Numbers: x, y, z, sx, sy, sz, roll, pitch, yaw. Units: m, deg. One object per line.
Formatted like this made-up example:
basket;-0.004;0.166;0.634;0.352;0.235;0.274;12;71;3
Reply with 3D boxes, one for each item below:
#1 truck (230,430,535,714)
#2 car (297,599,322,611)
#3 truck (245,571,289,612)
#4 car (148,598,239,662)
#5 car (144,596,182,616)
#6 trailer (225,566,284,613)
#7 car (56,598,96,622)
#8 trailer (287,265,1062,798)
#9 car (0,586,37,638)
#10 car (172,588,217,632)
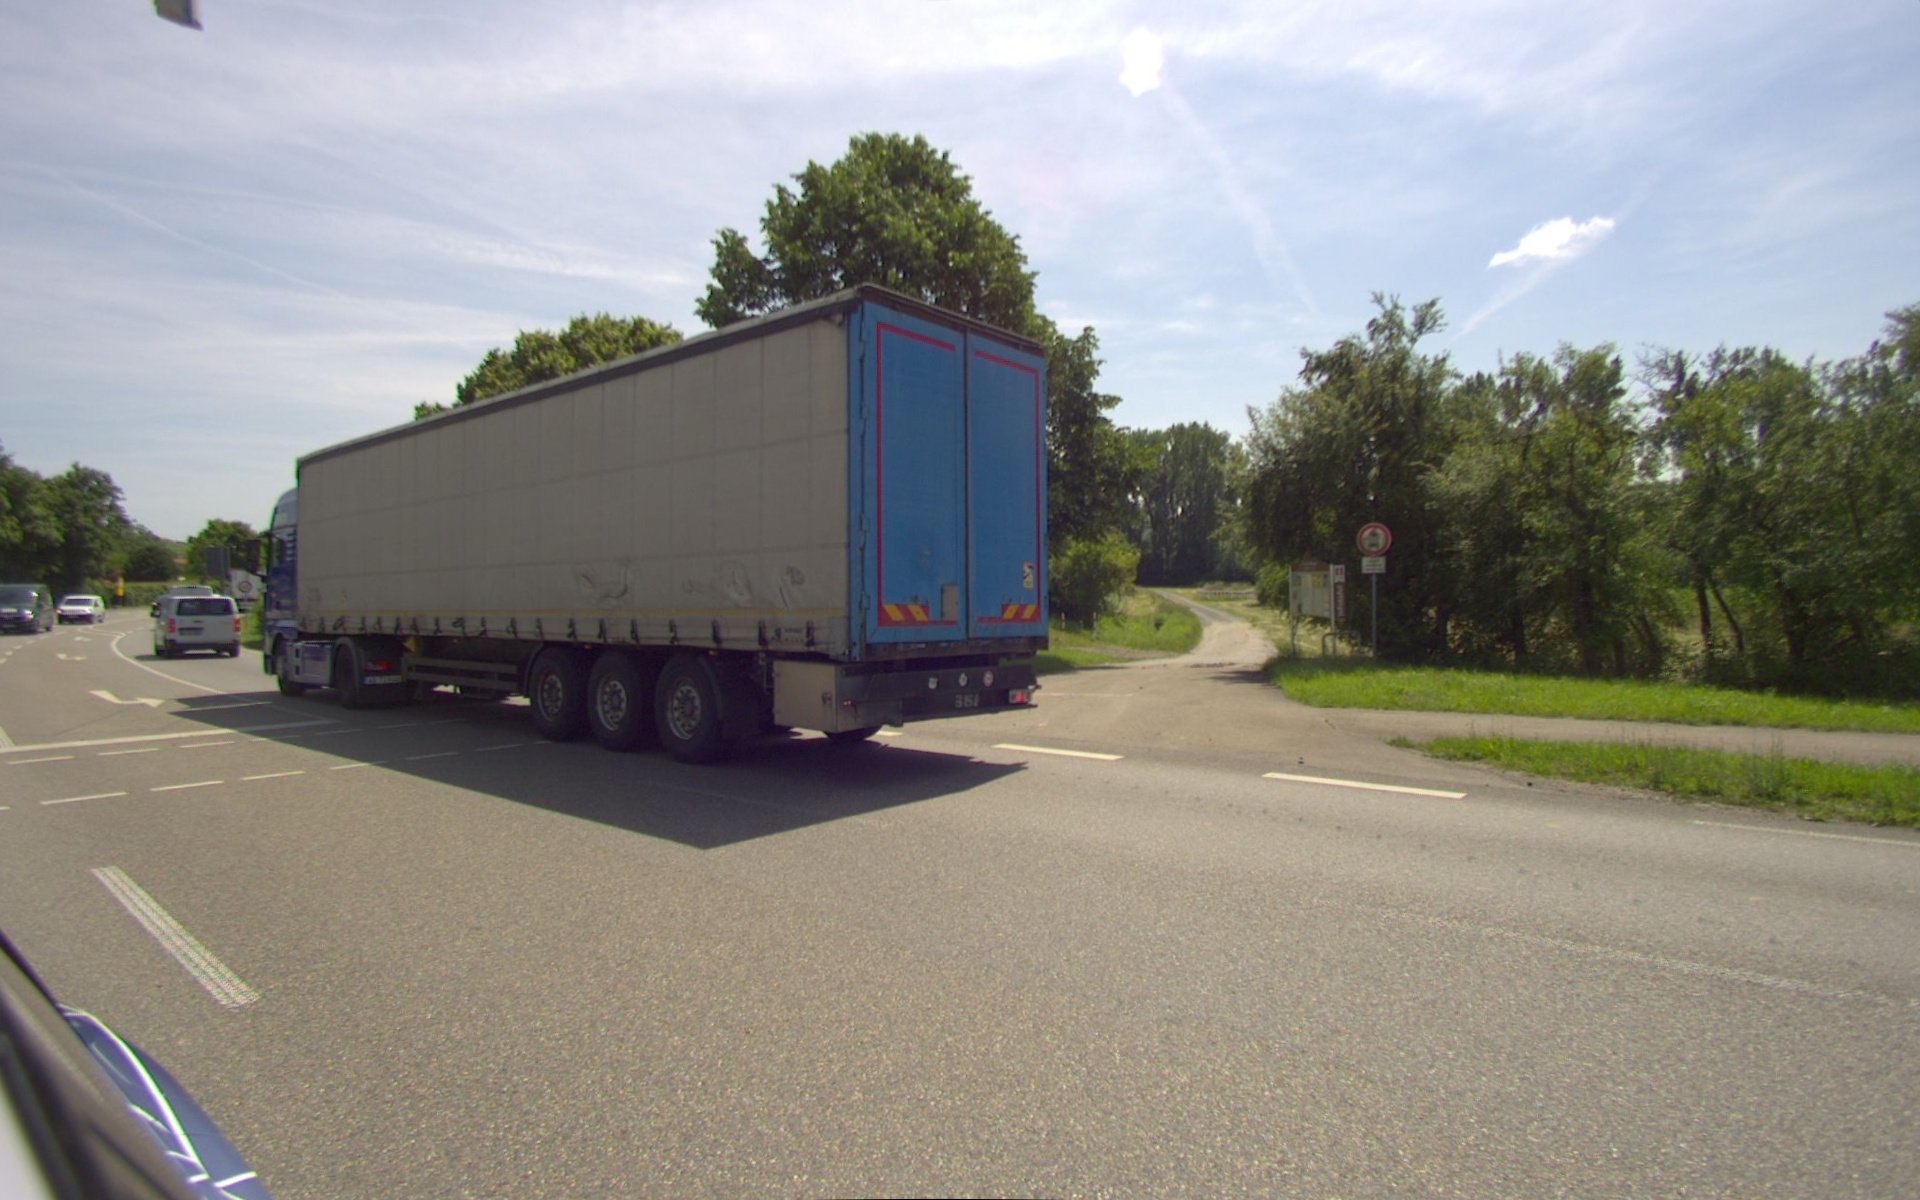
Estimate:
truck;-10.193;-0.355;17.556;6.555;4.060;2.540;-1;-1;40
car;-92.731;0.731;144.271;1.780;1.746;4.011;-1;0;-15
truck;-69.512;-0.840;101.621;2.738;3.973;5.724;2;-1;-25
car;-24.565;0.913;32.369;1.848;1.900;4.957;1;-1;-43
car;-73.036;0.580;92.835;1.779;1.746;4.013;-1;0;-24
trailer;-67.072;-0.936;96.455;2.739;4.133;11.698;2;-1;-26
car;-57.547;0.617;65.930;1.756;1.504;4.165;0;1;-39
trailer;-5.014;-0.440;13.098;13.584;4.060;2.540;-1;-1;41
car;-48.442;0.558;51.450;1.950;2.538;4.166;0;1;-38
car;-44.828;0.605;59.251;2.024;2.470;5.279;1;-1;-38
